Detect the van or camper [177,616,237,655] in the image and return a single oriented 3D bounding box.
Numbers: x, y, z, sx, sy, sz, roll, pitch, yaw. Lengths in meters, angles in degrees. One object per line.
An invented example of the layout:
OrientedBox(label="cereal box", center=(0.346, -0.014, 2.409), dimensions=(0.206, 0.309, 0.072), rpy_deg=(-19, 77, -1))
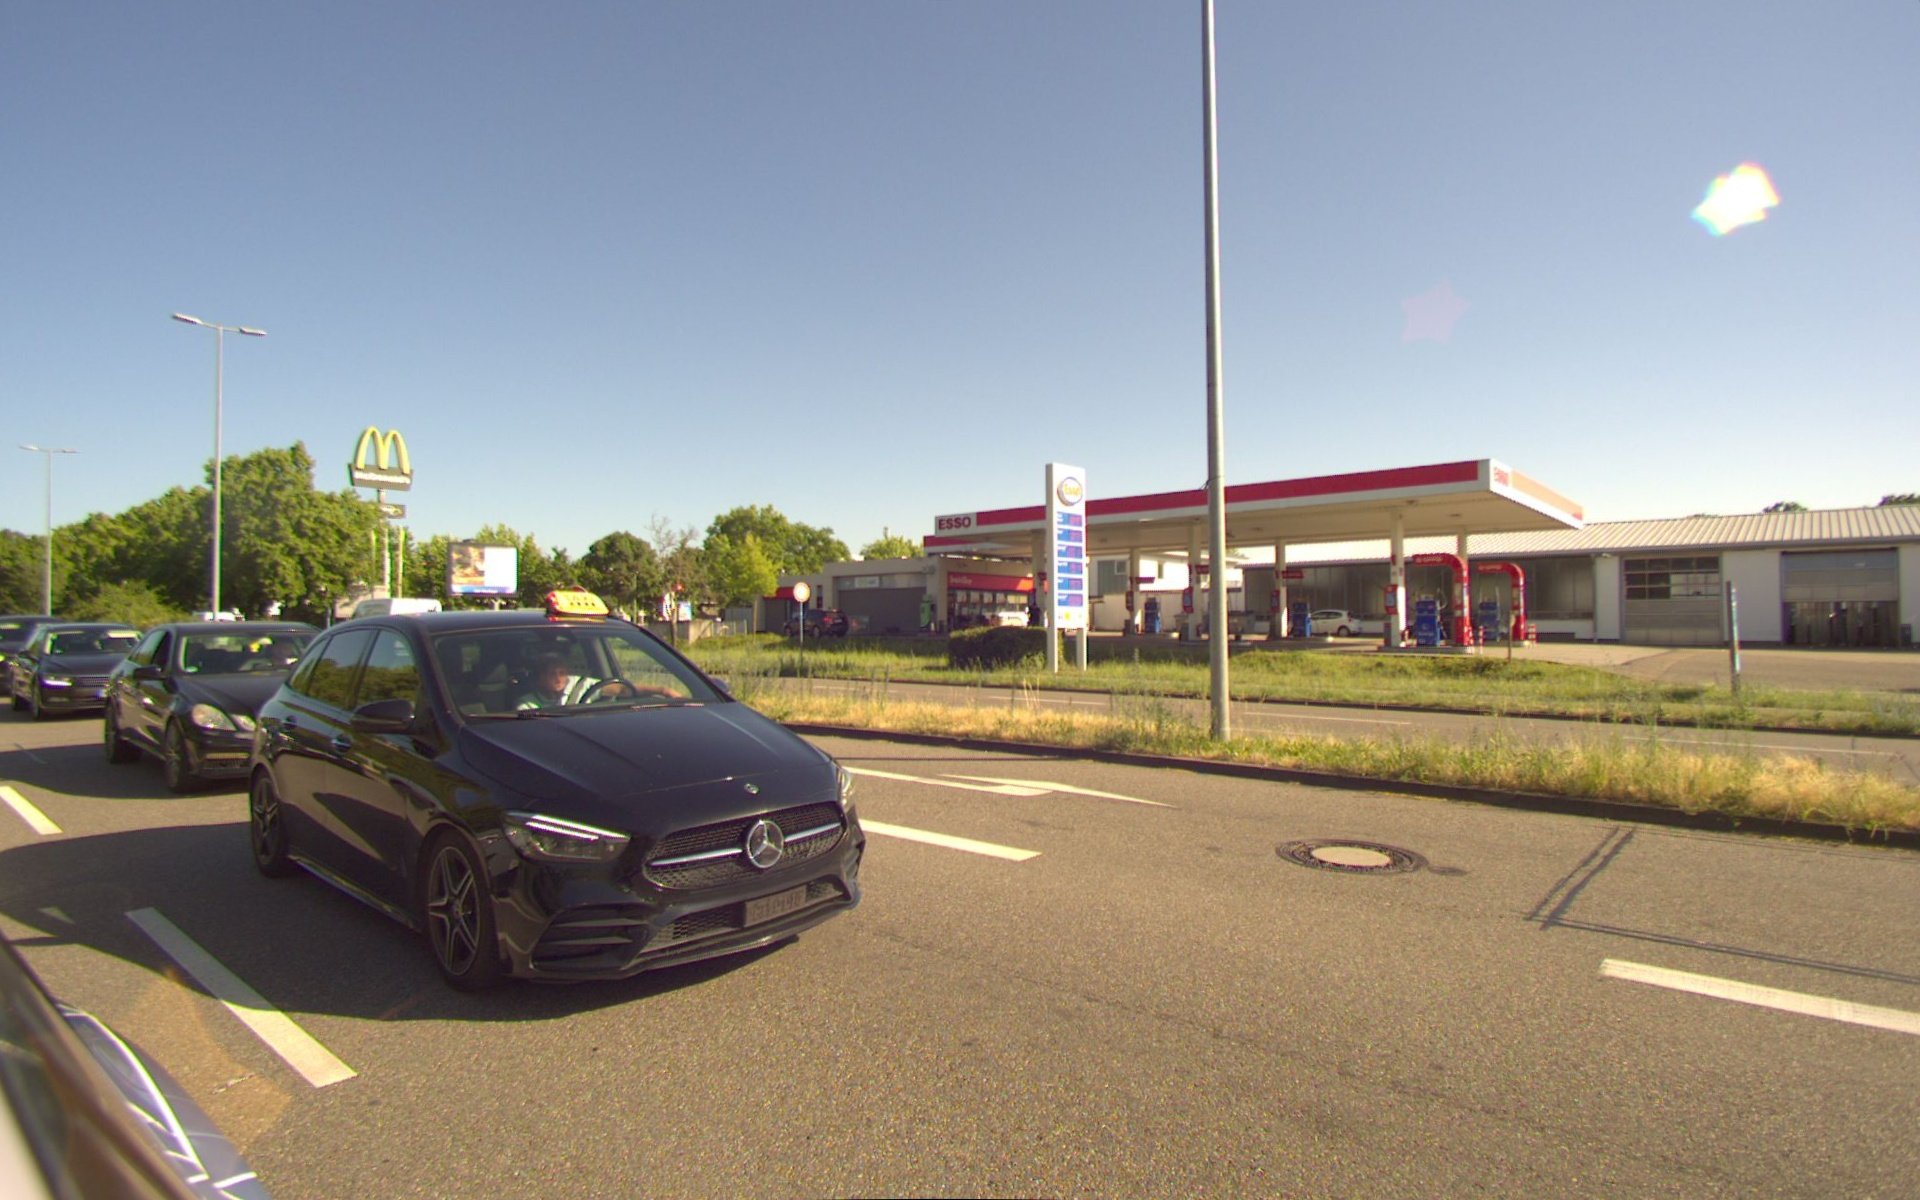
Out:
OrientedBox(label="van or camper", center=(-52.850, 2.493, 71.012), dimensions=(5.952, 2.671, 1.973), rpy_deg=(-1, -4, 40))

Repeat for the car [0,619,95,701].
OrientedBox(label="car", center=(-20.167, 1.233, 21.710), dimensions=(4.401, 1.600, 1.838), rpy_deg=(-2, -2, 41))

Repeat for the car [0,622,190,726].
OrientedBox(label="car", center=(-14.444, 1.128, 16.784), dimensions=(4.401, 1.492, 1.838), rpy_deg=(-2, -2, 41))

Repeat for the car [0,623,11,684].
OrientedBox(label="car", center=(-27.496, 1.451, 27.660), dimensions=(4.401, 1.600, 1.838), rpy_deg=(-2, -2, 41))

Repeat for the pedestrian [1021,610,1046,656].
OrientedBox(label="pedestrian", center=(3.272, 1.459, 44.799), dimensions=(0.840, 2.029, 0.694), rpy_deg=(-2, -2, 41))

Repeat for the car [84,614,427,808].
OrientedBox(label="car", center=(-7.212, 0.934, 10.180), dimensions=(4.401, 1.535, 1.838), rpy_deg=(-2, -2, 41))

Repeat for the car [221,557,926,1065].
OrientedBox(label="car", center=(-2.302, 0.733, 5.350), dimensions=(4.187, 1.638, 1.780), rpy_deg=(-2, -2, 42))

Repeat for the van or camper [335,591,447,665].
OrientedBox(label="van or camper", center=(-21.577, 1.041, 38.220), dimensions=(2.152, 2.592, 6.760), rpy_deg=(1, -2, -43))

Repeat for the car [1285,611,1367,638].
OrientedBox(label="car", center=(19.824, 1.332, 54.885), dimensions=(3.844, 1.450, 1.730), rpy_deg=(-2, -2, 39))

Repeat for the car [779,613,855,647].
OrientedBox(label="car", center=(-7.795, 1.631, 54.994), dimensions=(4.117, 1.783, 1.972), rpy_deg=(-2, -1, 43))
